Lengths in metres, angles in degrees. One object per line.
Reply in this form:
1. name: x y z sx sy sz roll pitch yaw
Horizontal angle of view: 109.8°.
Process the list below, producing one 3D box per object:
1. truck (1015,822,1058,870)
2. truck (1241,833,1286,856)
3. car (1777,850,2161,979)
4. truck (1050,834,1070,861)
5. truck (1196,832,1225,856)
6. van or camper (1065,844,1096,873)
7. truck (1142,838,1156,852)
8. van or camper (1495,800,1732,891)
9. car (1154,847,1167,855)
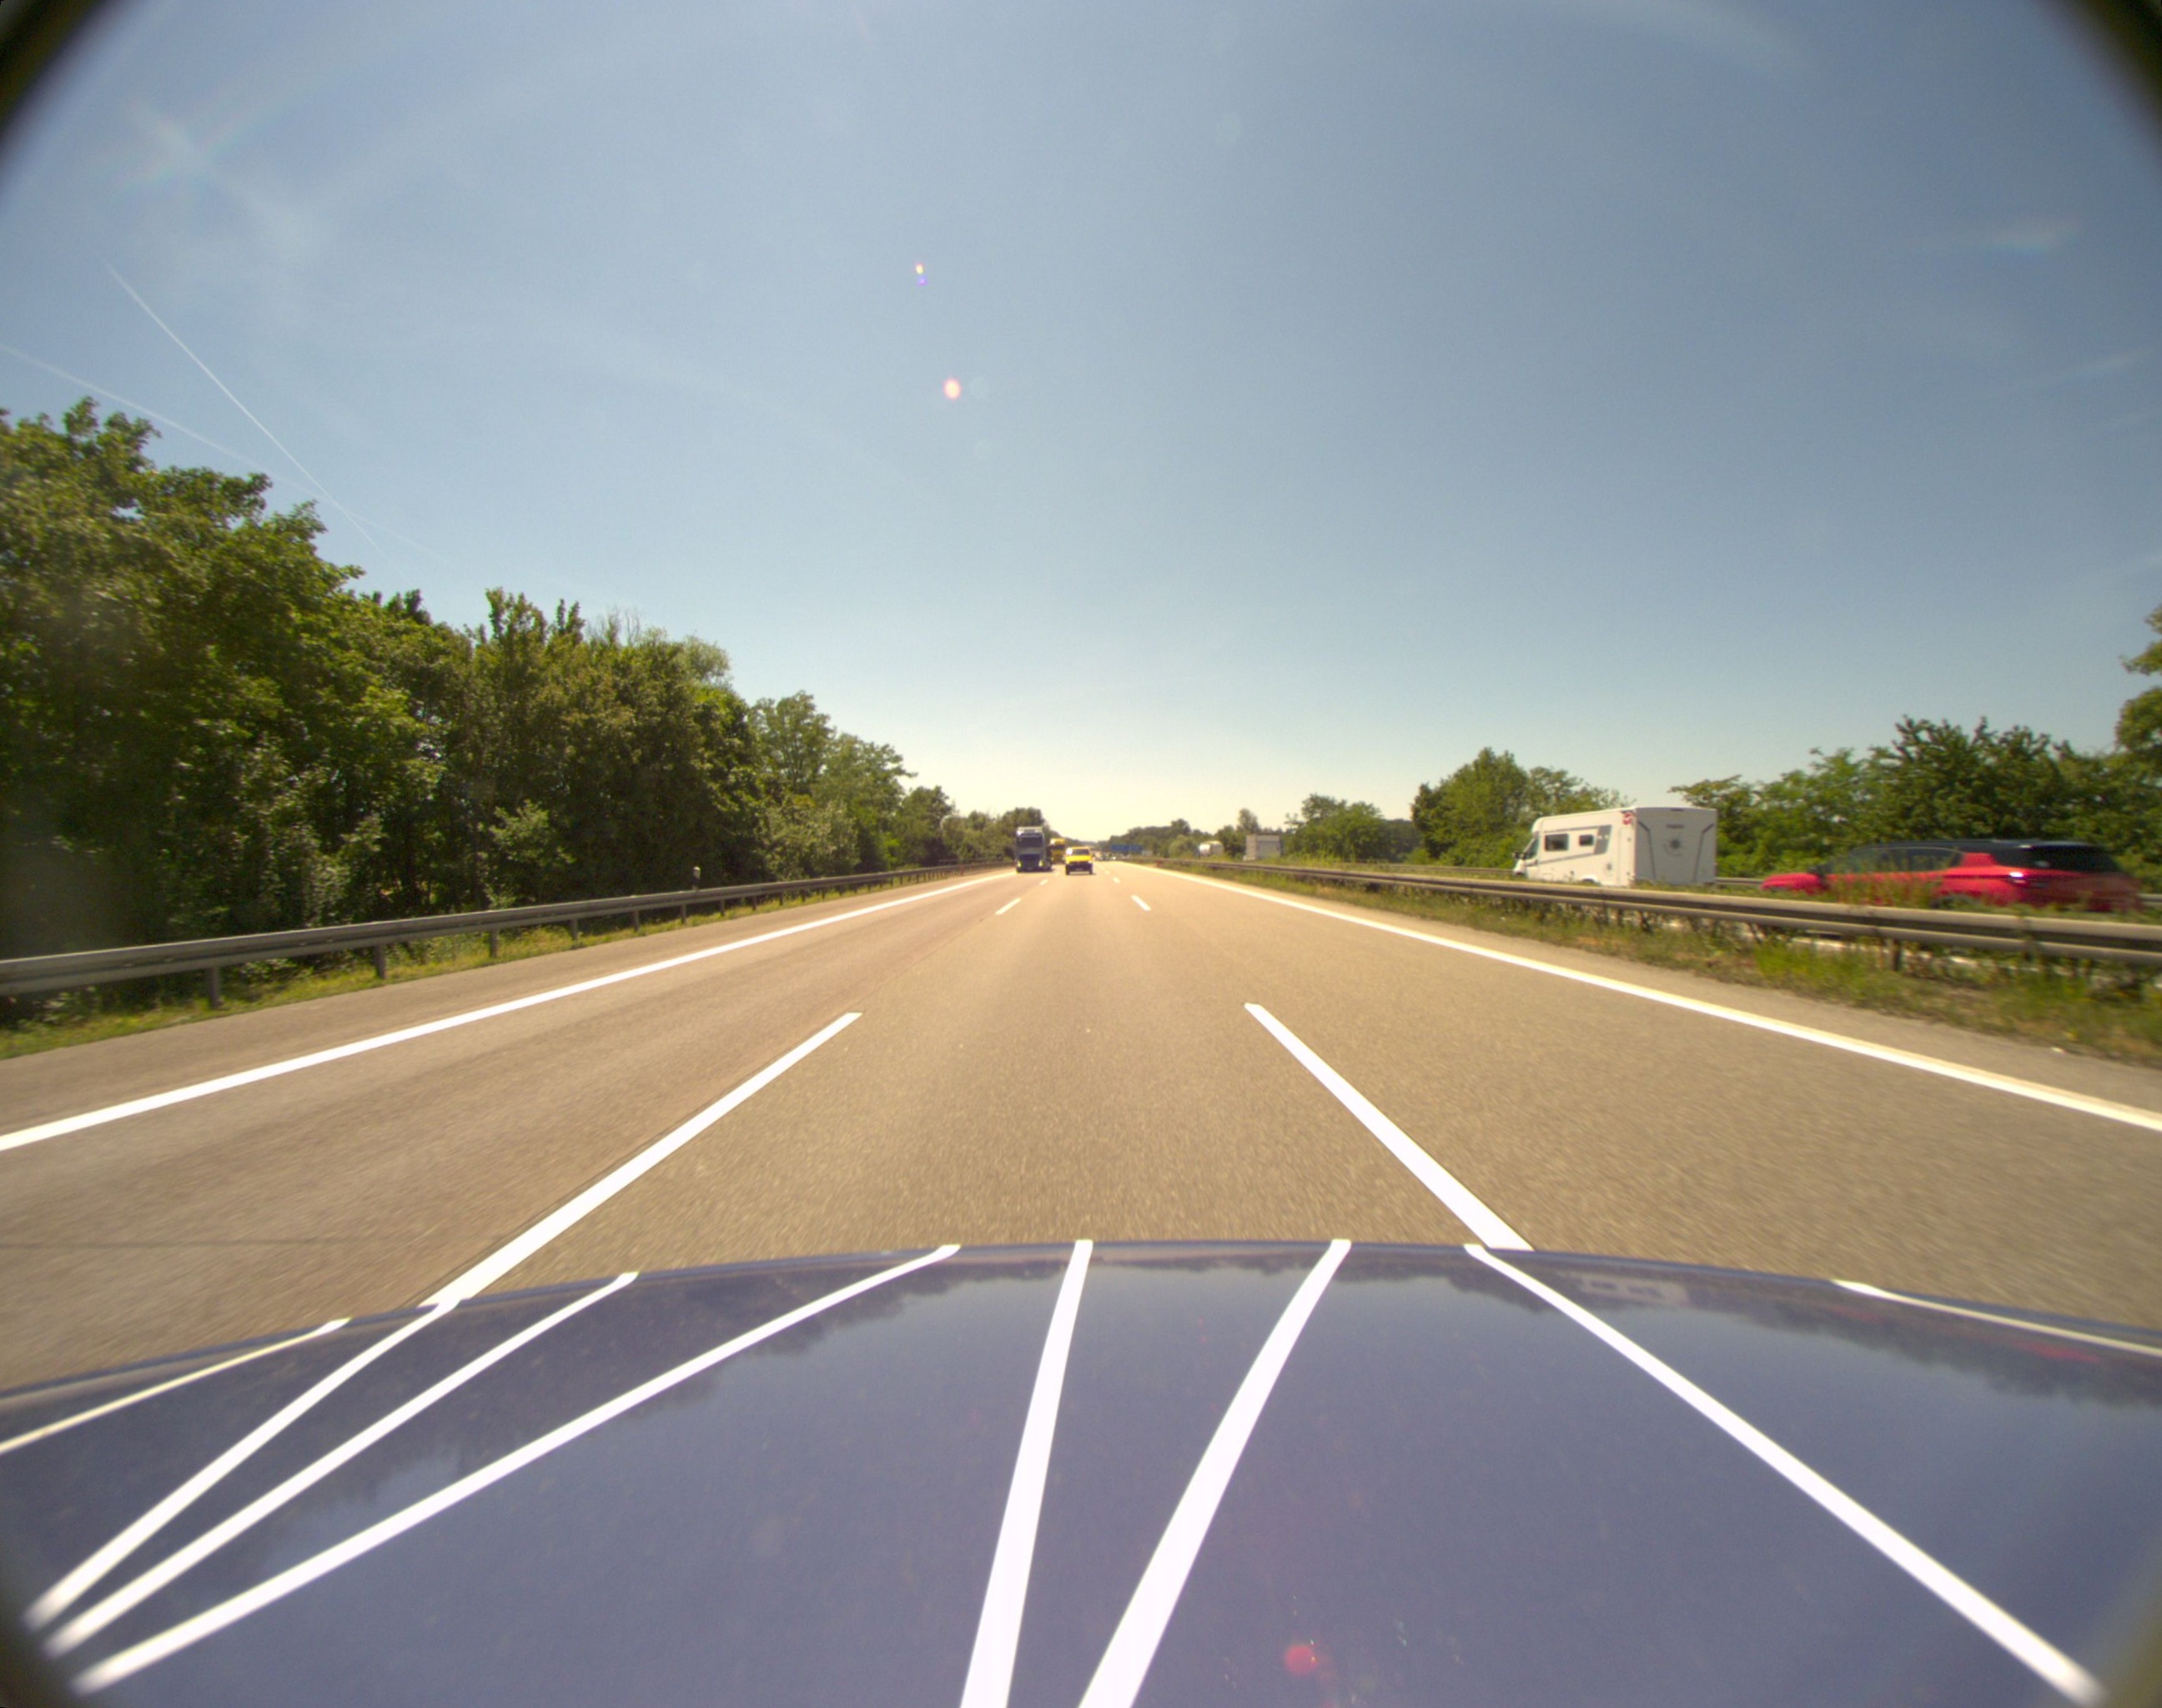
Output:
1. truck: -4.027 -0.689 72.220 2.977 3.934 16.611 -2 0 0
2. truck: 17.364 -0.869 72.717 2.735 2.055 7.137 0 1 2
3. car: 12.963 0.714 11.070 1.998 1.510 4.000 -1 1 1
4. truck: -3.326 -1.080 126.579 2.852 4.233 16.789 0 0 0
5. truck: 22.646 -1.752 133.822 2.735 4.029 15.935 0 1 1
6. van or camper: -0.017 0.323 53.430 1.998 1.898 4.971 -2 0 0
7. truck: 23.836 -3.171 267.341 3.234 4.692 16.858 2 0 0
8. van or camper: 17.031 -0.271 25.166 2.474 2.545 7.808 0 1 1
9. car: 18.363 -0.738 176.184 2.419 1.906 5.782 0 0 1
